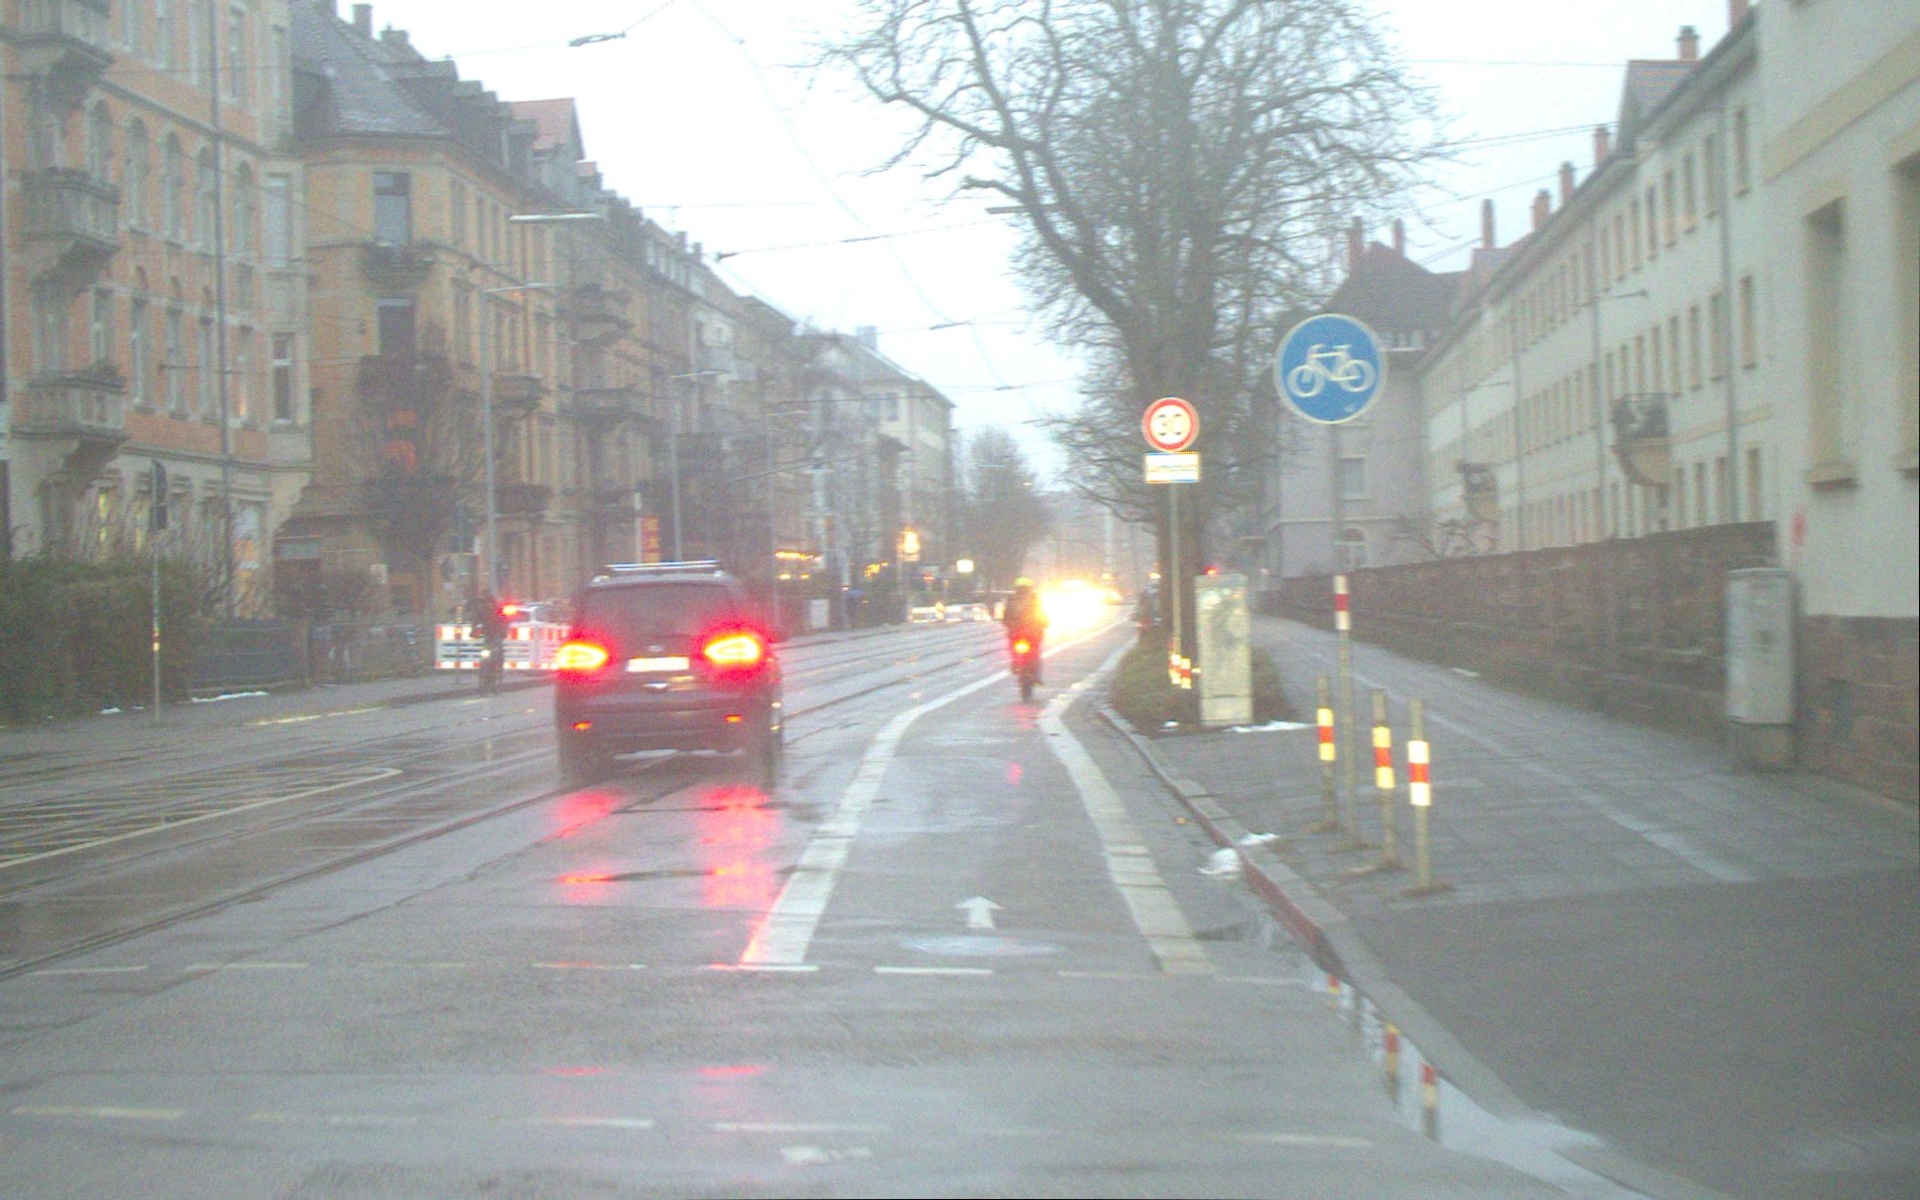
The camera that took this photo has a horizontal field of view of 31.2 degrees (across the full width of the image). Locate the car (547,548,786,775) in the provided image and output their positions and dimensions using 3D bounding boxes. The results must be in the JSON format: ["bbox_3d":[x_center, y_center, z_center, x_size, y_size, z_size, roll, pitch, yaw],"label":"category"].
[{"bbox_3d":[-2.549,0.496,30.703,1.802,1.864,4.018,1,0,0],"label":"car"}]

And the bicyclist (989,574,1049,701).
[{"bbox_3d":[0.822,0.516,47.599,0.730,1.731,0.765,-1,0,5],"label":"bicyclist"}]

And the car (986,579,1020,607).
[{"bbox_3d":[2.842,-0.462,225.554,1.924,1.714,3.999,-2,0,4],"label":"car"}]

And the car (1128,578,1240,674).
[{"bbox_3d":[3.784,0.411,58.292,1.785,1.504,3.987,-2,0,3],"label":"car"}]

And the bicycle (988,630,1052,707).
[{"bbox_3d":[0.841,0.938,47.601,0.731,1.003,1.763,-1,0,5],"label":"bicycle"}]

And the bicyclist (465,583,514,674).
[{"bbox_3d":[-8.448,0.505,61.765,0.684,1.610,0.765,-1,0,5],"label":"bicyclist"}]

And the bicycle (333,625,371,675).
[{"bbox_3d":[-11.721,0.956,66.280,0.263,0.912,1.685,4,1,4],"label":"bicycle"}]

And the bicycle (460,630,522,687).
[{"bbox_3d":[-8.427,1.038,61.813,0.678,0.969,1.933,-1,0,5],"label":"bicycle"}]
